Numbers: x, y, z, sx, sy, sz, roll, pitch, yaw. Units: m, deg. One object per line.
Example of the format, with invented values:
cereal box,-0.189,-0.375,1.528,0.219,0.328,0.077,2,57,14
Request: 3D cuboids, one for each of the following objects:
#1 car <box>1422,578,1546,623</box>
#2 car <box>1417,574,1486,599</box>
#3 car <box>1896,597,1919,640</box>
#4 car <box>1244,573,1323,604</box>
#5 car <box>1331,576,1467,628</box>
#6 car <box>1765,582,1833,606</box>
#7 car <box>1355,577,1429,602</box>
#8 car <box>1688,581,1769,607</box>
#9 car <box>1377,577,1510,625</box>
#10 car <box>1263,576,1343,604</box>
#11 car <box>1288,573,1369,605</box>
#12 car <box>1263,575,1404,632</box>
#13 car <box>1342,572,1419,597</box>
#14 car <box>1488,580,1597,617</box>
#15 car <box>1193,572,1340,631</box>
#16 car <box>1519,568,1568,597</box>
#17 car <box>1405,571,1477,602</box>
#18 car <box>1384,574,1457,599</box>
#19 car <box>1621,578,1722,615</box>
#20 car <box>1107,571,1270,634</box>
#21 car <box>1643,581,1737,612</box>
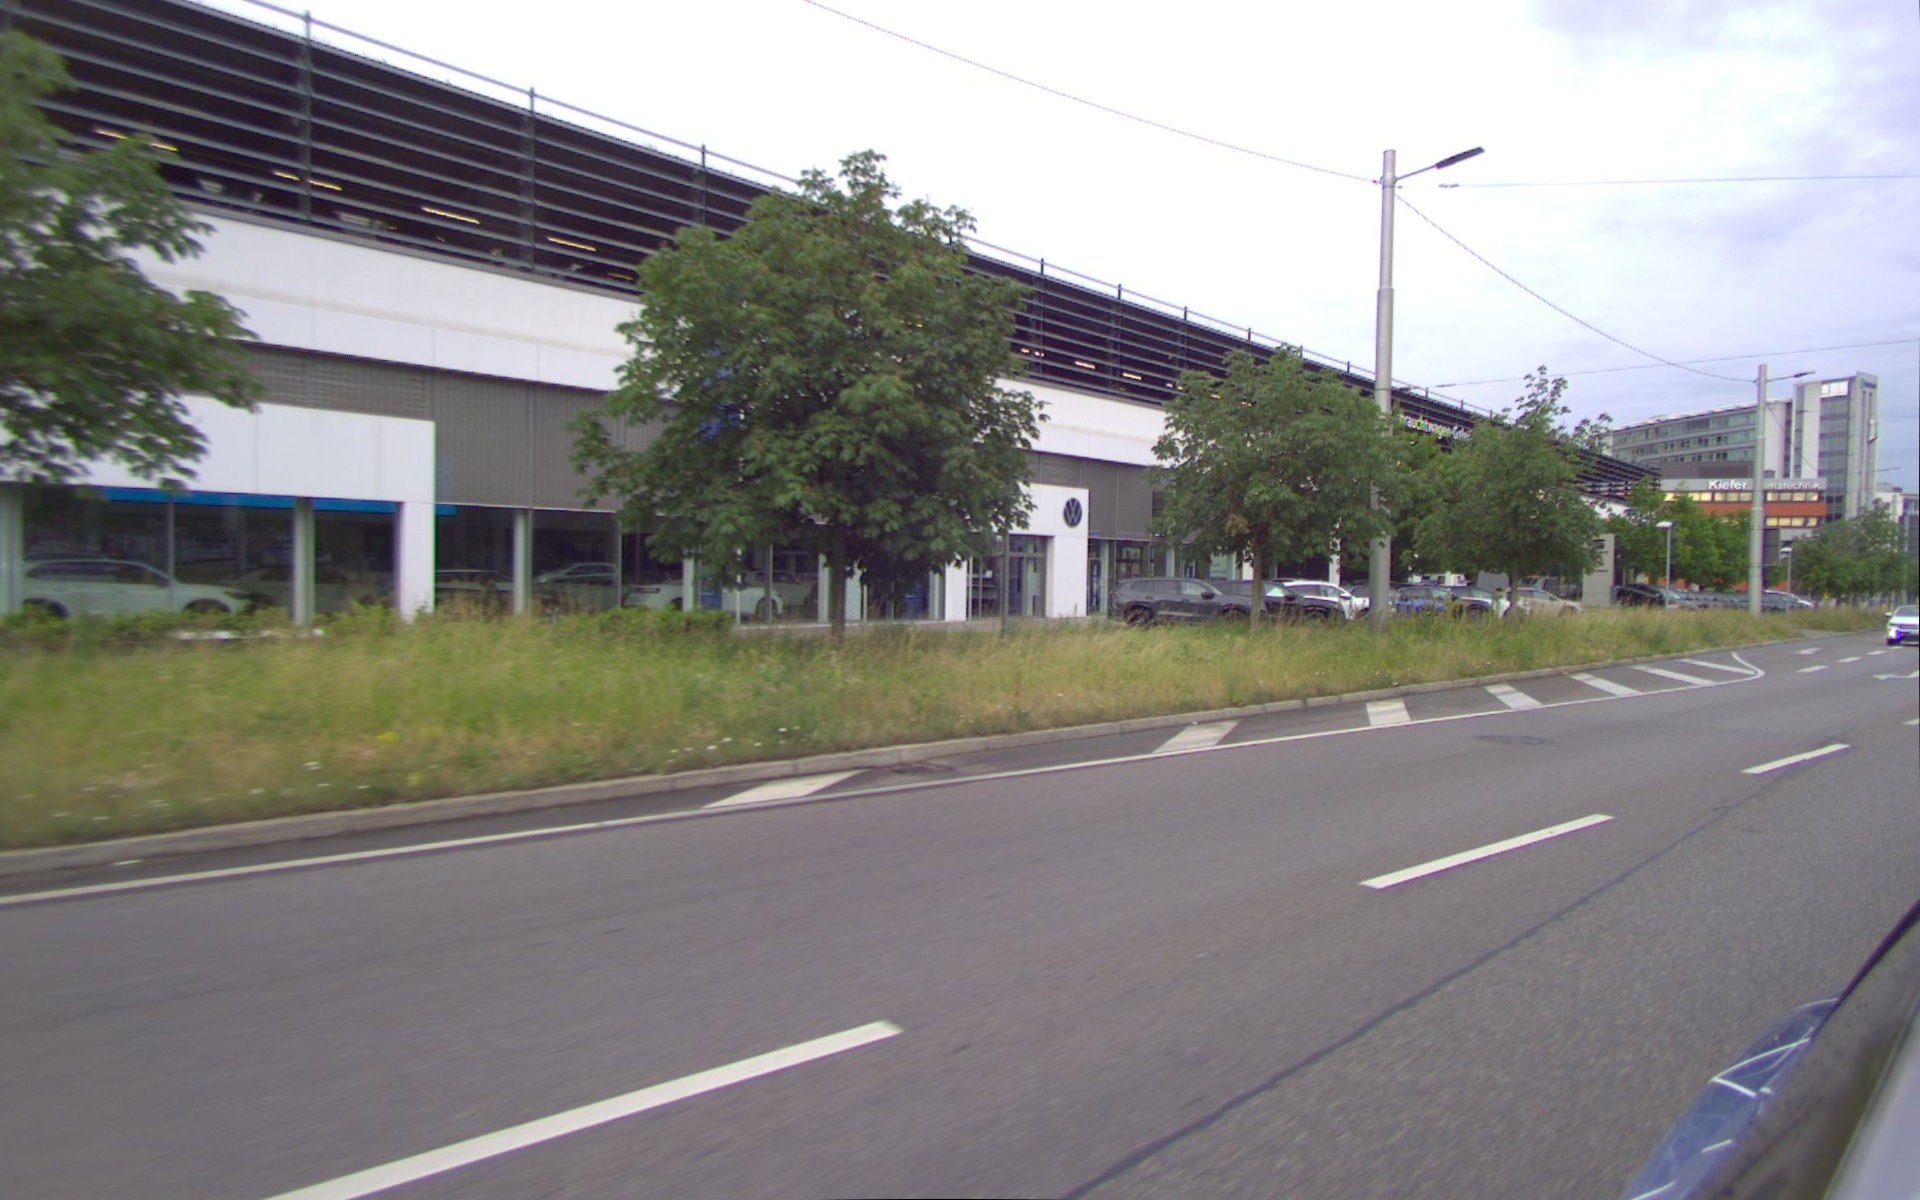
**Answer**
car,21.156,-0.002,41.007,4.036,1.587,1.794,2,3,12
car,34.506,-0.964,71.108,1.873,1.652,3.992,0,2,-43
car,35.748,0.670,37.026,3.770,1.513,1.877,0,1,-42
car,17.703,-0.659,55.496,1.612,1.607,3.818,0,2,-45
car,15.576,0.046,36.115,4.127,1.587,1.793,2,3,13
car,78.077,-0.579,94.236,4.463,2.016,1.802,4,2,30
car,27.439,-0.666,64.358,1.734,1.442,3.992,0,2,-43
car,53.628,-0.464,70.729,4.114,1.588,1.891,3,3,28
car,18.232,0.019,38.321,4.119,1.587,1.797,2,3,7
car,19.529,-0.539,57.691,1.754,1.527,3.994,0,-1,-40
car,21.389,-0.621,58.847,1.857,1.750,3.994,0,-1,-40
car,12.507,0.062,34.168,4.298,1.646,1.847,3,3,18
car,26.001,-0.956,62.639,1.734,1.442,3.992,0,2,-43
car,27.465,-0.093,47.828,4.041,1.483,1.741,2,3,15
car,9.706,0.010,32.220,4.316,1.587,1.790,3,3,17
car,41.278,-1.250,71.569,4.356,1.963,1.888,0,2,-44
car,32.899,-0.949,69.278,1.912,2.000,4.032,0,2,-43
car,30.777,-0.921,67.689,1.873,1.555,3.992,0,2,-43
car,42.397,-0.250,60.438,1.786,1.899,4.734,1,2,-19
car,6.804,0.022,30.074,4.565,1.587,1.842,3,3,18
car,45.407,-0.239,63.045,4.279,1.632,1.859,3,2,19
